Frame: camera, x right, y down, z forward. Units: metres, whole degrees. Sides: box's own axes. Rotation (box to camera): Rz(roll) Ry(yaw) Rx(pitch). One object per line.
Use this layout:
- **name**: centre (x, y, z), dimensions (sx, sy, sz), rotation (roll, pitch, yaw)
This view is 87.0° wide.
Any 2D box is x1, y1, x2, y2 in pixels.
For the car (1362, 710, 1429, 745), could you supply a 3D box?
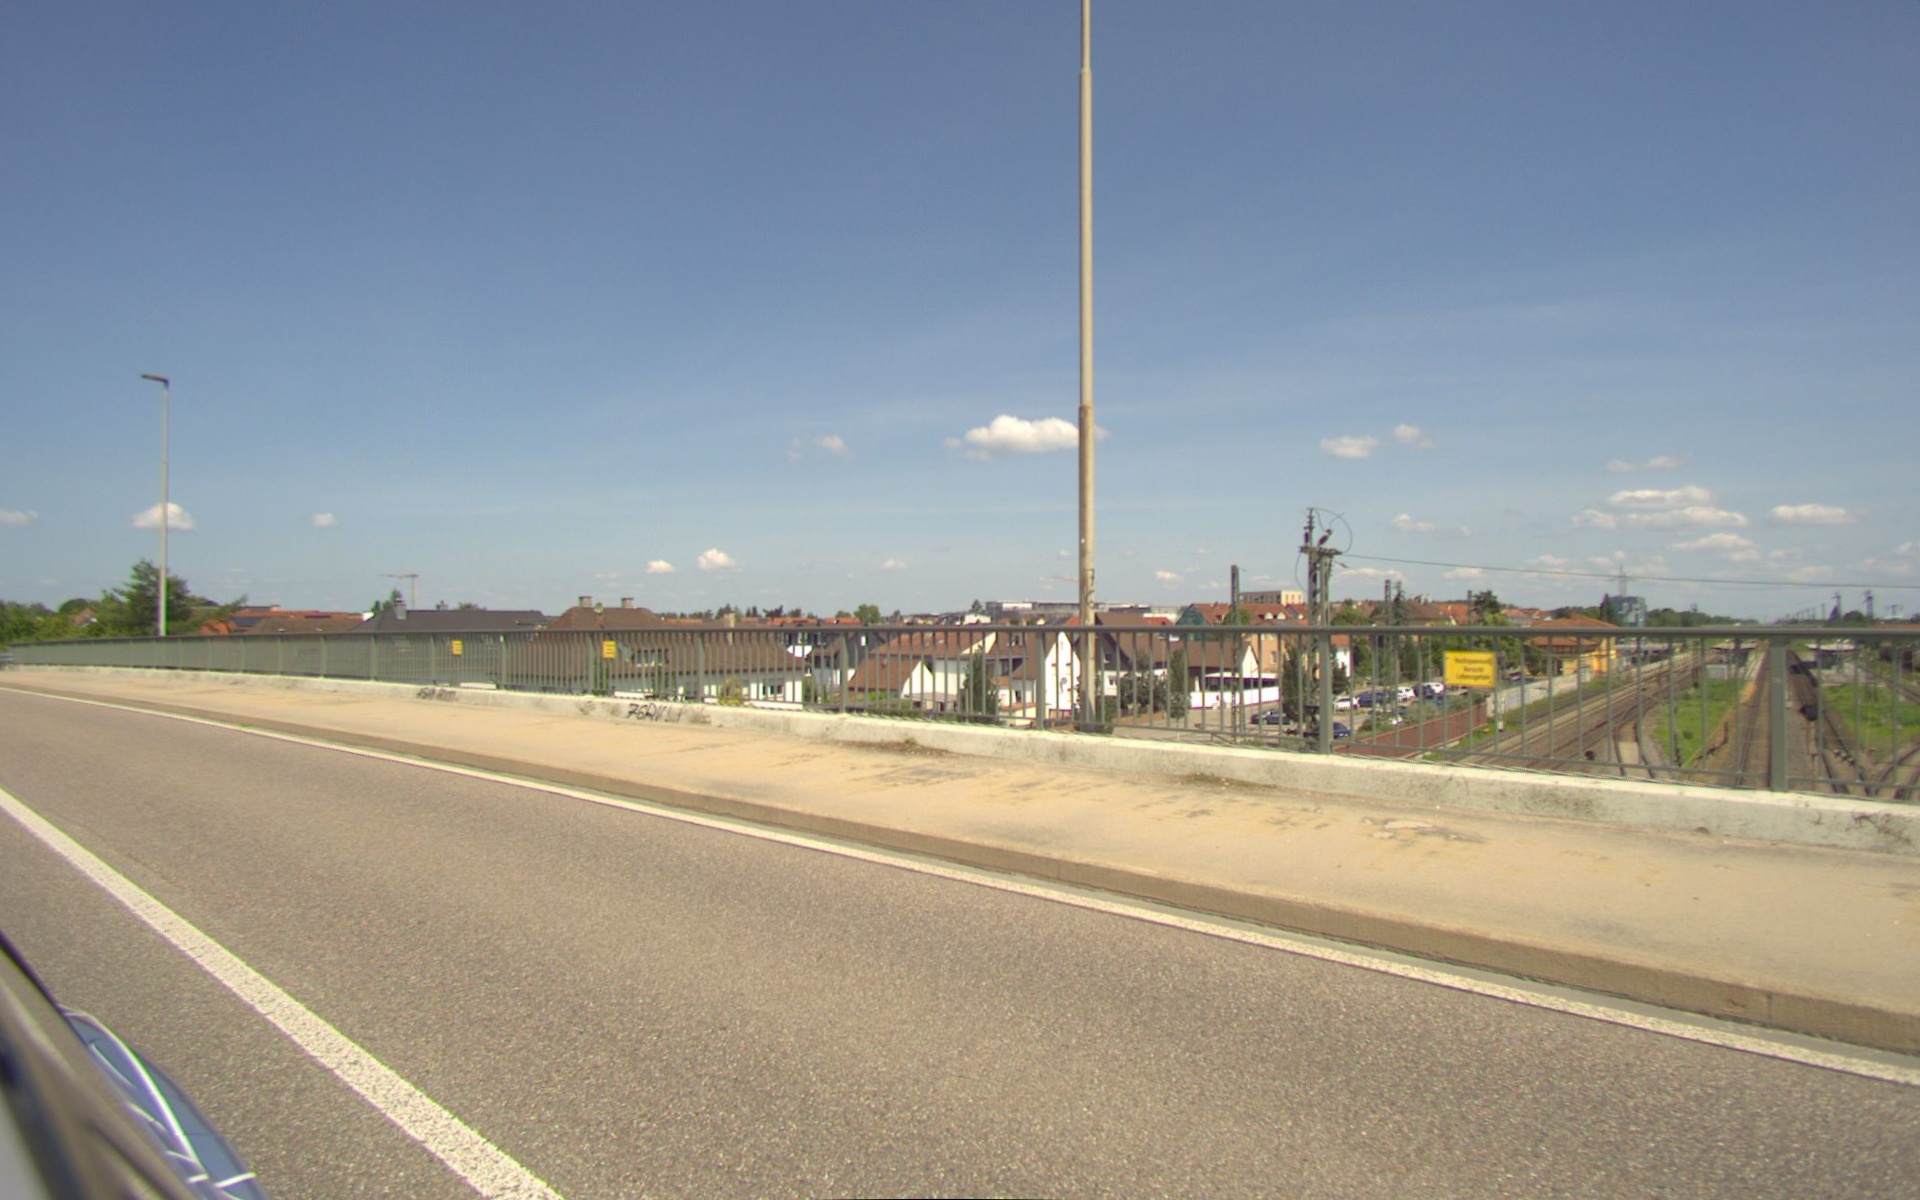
- **car**: centre (36.334, 10.639, 84.538), dimensions (1.967, 2.028, 4.867), rotation (-7, 5, -32)
